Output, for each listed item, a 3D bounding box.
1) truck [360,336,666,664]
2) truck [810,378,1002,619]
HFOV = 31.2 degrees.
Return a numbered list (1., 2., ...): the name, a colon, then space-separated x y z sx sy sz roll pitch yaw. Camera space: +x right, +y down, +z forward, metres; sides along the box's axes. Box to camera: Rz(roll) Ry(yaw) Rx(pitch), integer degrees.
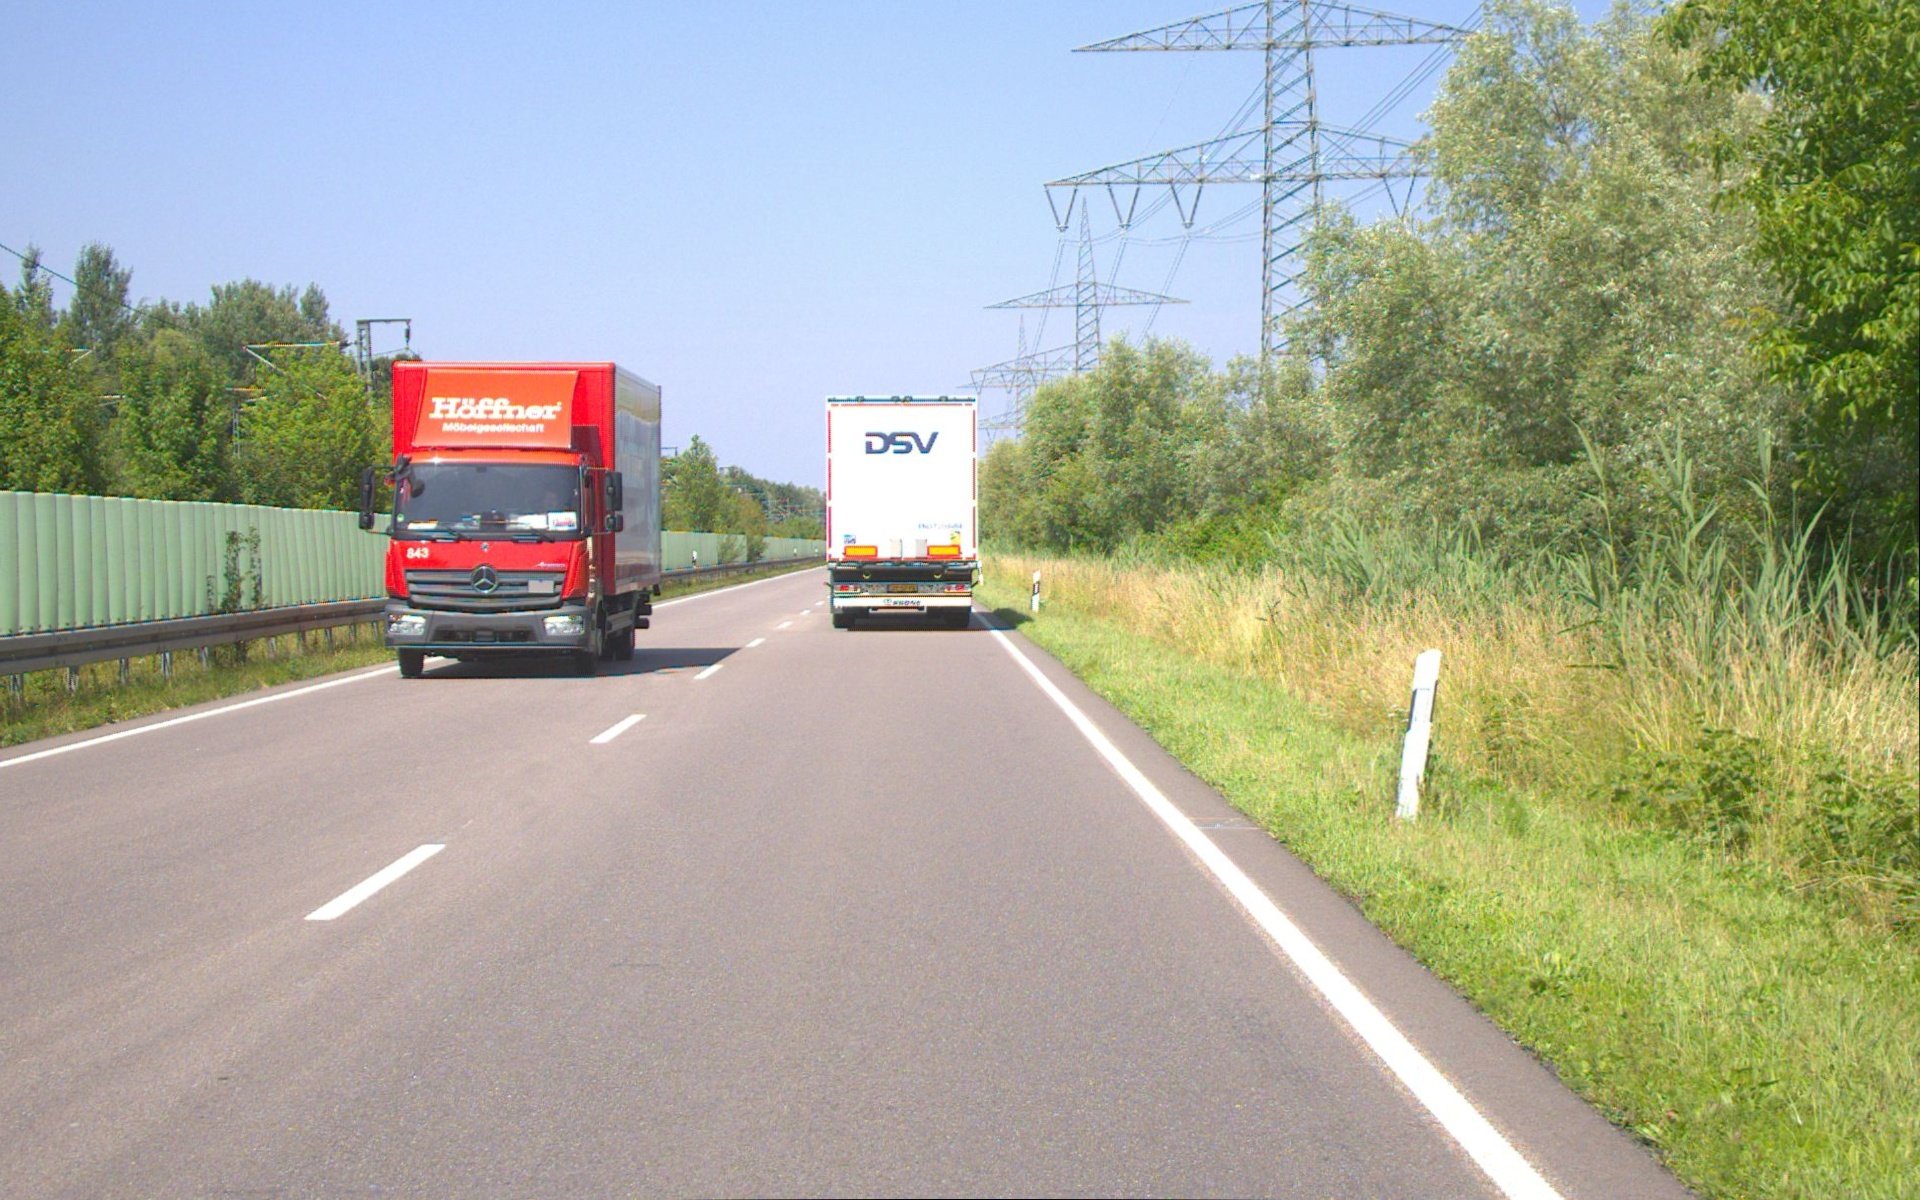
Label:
1. truck: -5.298 -1.192 42.402 2.734 3.586 9.528 0 1 -1
2. truck: -1.035 -1.817 63.549 3.192 4.029 12.008 0 1 -1
